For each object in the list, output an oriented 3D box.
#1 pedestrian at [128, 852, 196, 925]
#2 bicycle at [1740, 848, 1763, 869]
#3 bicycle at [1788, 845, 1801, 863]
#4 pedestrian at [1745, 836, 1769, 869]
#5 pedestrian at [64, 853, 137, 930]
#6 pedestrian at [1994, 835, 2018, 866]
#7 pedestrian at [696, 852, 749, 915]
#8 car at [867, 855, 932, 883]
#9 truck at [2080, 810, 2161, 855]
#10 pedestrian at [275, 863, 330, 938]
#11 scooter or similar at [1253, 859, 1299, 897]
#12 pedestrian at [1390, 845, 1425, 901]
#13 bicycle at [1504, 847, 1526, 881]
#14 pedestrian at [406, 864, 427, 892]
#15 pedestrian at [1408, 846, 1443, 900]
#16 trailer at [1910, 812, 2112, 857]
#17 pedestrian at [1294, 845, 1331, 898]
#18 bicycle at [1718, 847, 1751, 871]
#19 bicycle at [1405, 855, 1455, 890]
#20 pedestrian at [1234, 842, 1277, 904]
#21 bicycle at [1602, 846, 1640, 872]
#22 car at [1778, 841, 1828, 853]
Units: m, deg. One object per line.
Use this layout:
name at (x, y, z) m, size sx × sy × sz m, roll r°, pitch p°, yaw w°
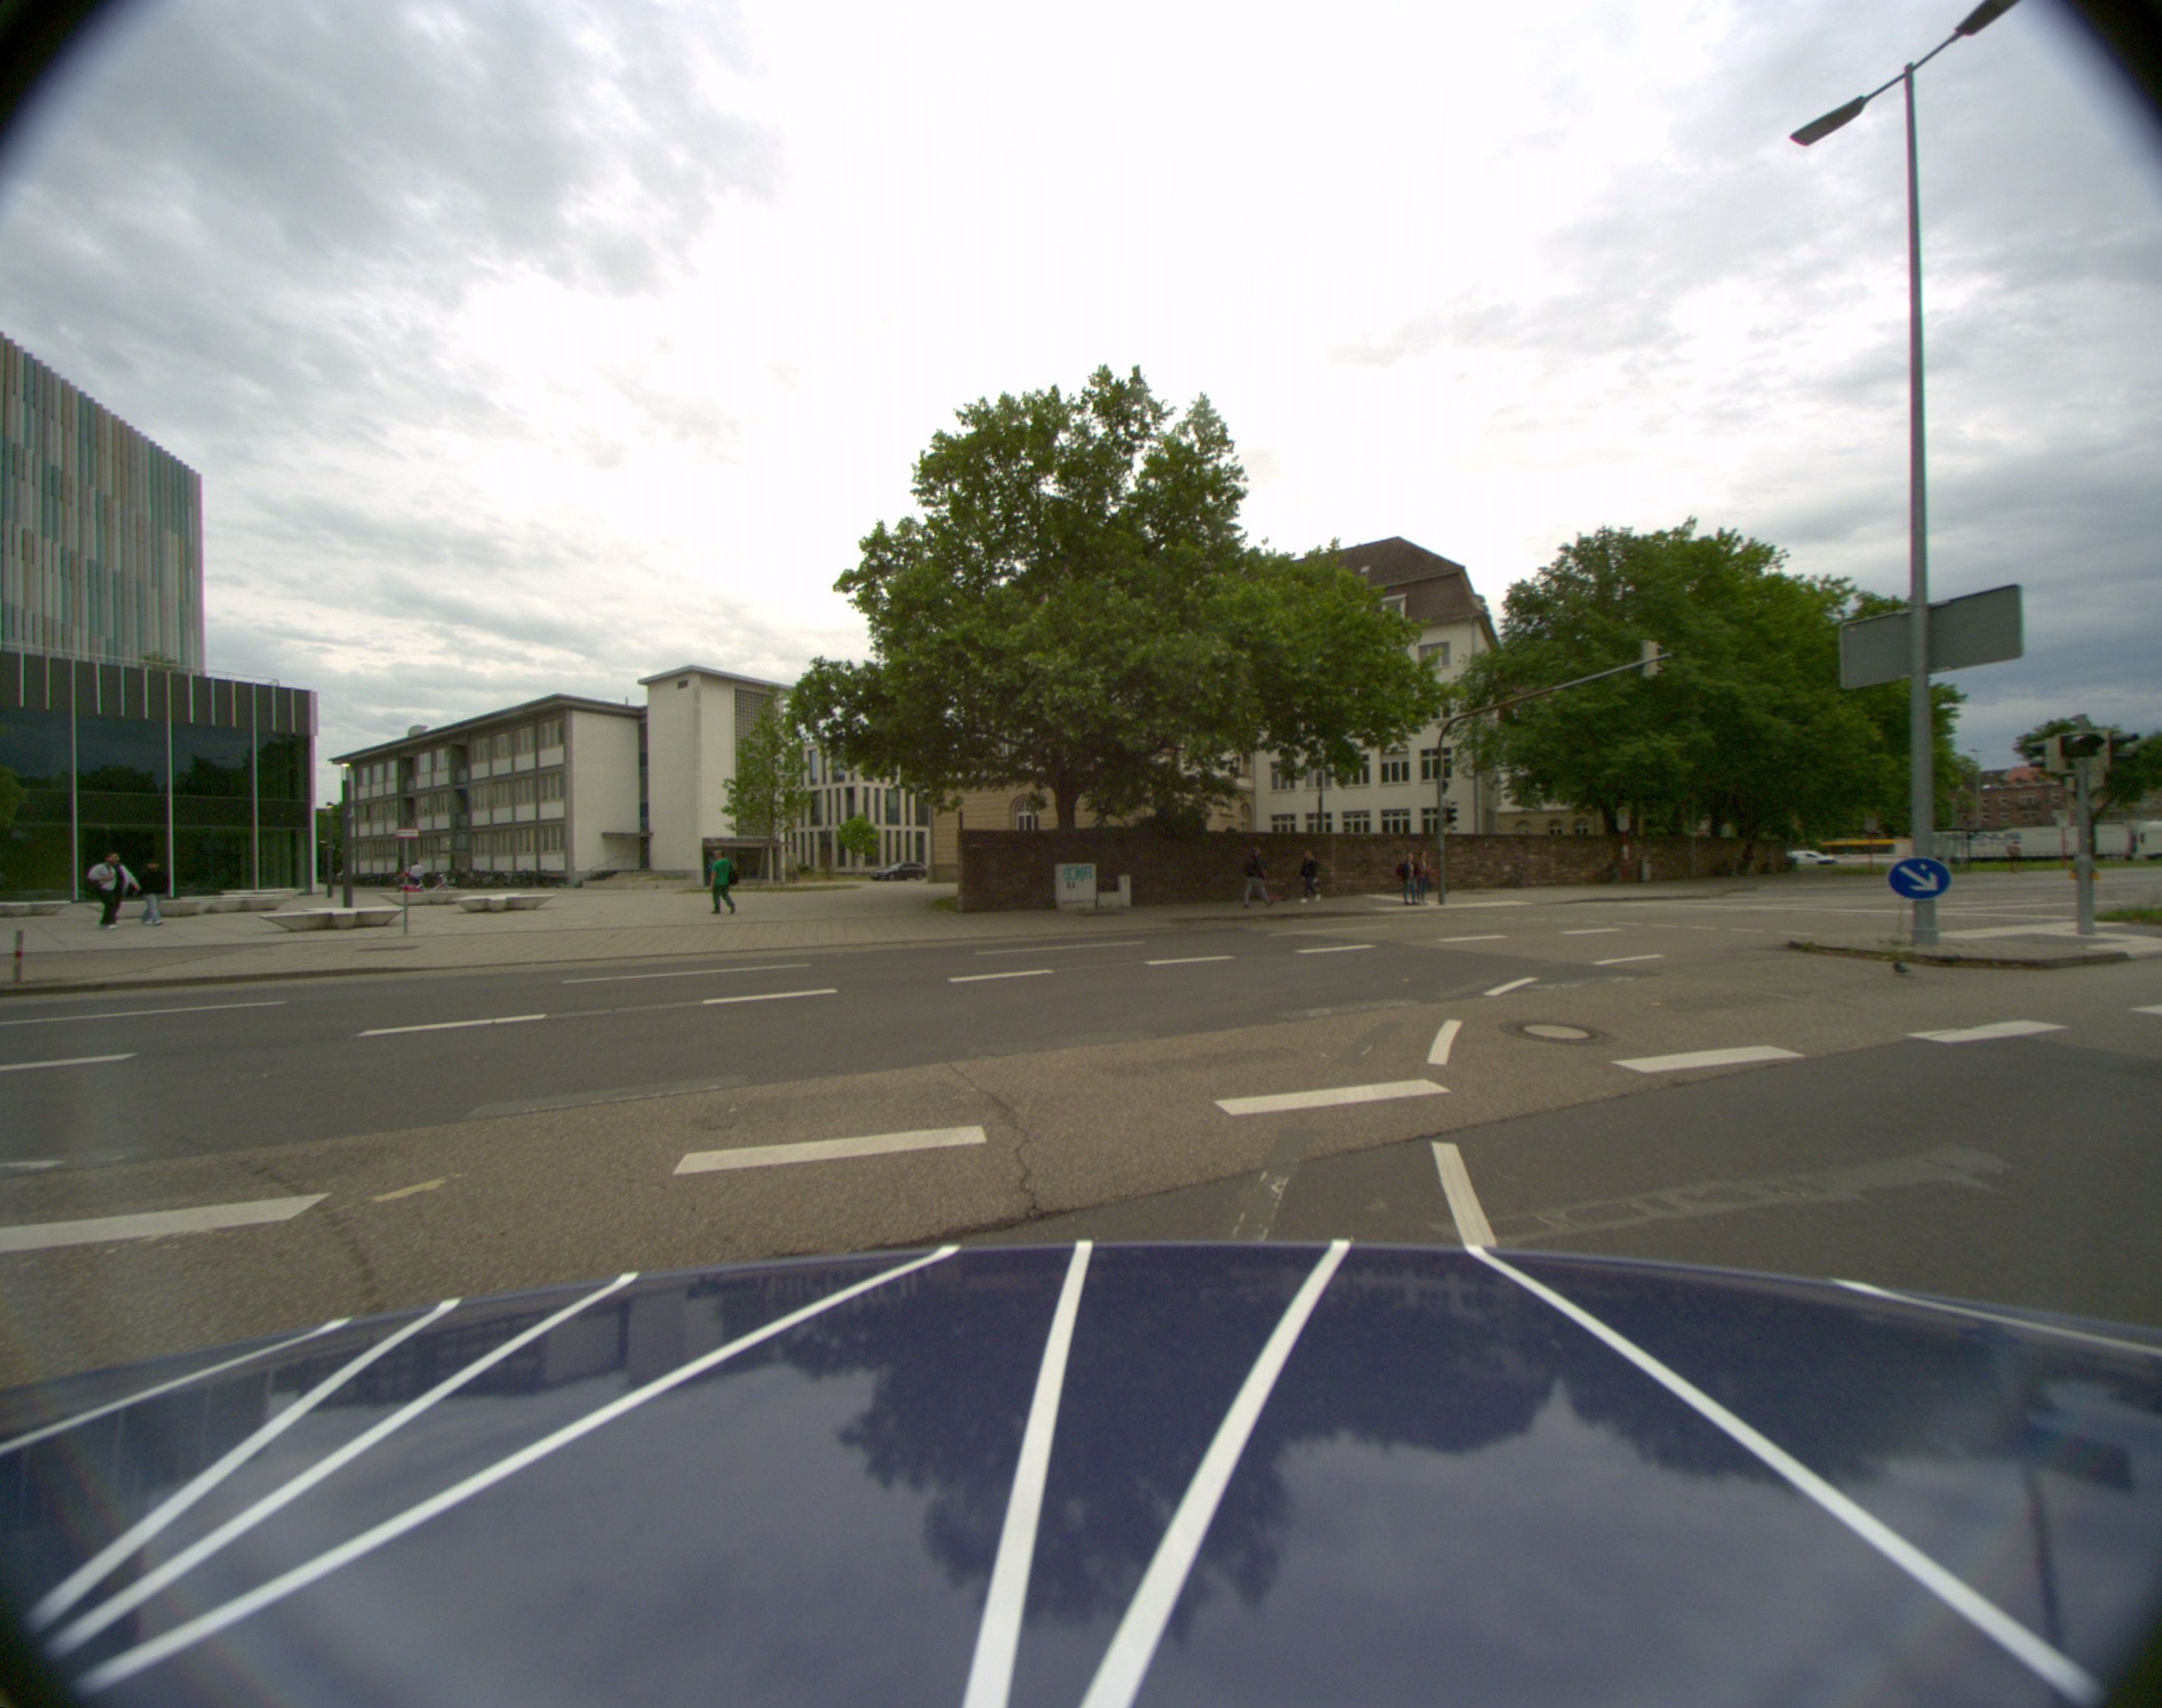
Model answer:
pedestrian at (-22.859, 0.845, 18.904) m, size 0.892 × 1.778 × 0.847 m, roll -1°, pitch 0°, yaw 25°
bicycle at (38.670, 0.241, 43.798) m, size 2.252 × 1.141 × 0.506 m, roll -2°, pitch 2°, yaw -36°
bicycle at (48.830, -0.026, 52.010) m, size 2.252 × 1.141 × 0.506 m, roll -2°, pitch 2°, yaw -43°
pedestrian at (36.078, -0.083, 40.539) m, size 0.774 × 1.749 × 0.789 m, roll -1°, pitch 1°, yaw -35°
pedestrian at (-23.175, 0.865, 17.969) m, size 0.892 × 1.778 × 0.847 m, roll 0°, pitch 1°, yaw 25°
pedestrian at (51.579, -0.208, 42.376) m, size 0.709 × 1.696 × 0.641 m, roll -1°, pitch 0°, yaw -23°
pedestrian at (-9.988, 0.806, 21.179) m, size 0.904 × 1.704 × 0.953 m, roll -2°, pitch -1°, yaw 30°
car at (-13.597, 1.128, 57.177) m, size 1.997 × 1.571 × 4.410 m, roll -14°, pitch -6°, yaw 33°
truck at (95.289, -1.936, 68.686) m, size 2.847 × 3.801 × 5.441 m, roll -3°, pitch 1°, yaw -24°
pedestrian at (-17.737, 1.047, 17.312) m, size 0.623 × 1.656 × 0.619 m, roll -2°, pitch 1°, yaw 22°
scooter or similar at (6.445, 0.789, 25.140) m, size 1.413 × 1.223 × 0.495 m, roll -1°, pitch 2°, yaw -4°
pedestrian at (10.369, 0.595, 24.132) m, size 0.671 × 1.729 × 0.734 m, roll -2°, pitch 2°, yaw -26°
bicycle at (18.195, 0.405, 31.852) m, size 0.667 × 1.372 × 2.590 m, roll 0°, pitch 0°, yaw 32°
pedestrian at (-43.448, 1.557, 49.680) m, size 0.759 × 1.778 × 0.777 m, roll -1°, pitch 0°, yaw 33°
pedestrian at (11.047, 0.592, 24.387) m, size 0.643 × 1.684 × 0.778 m, roll -2°, pitch 2°, yaw -24°
trailer at (92.233, -1.795, 75.882) m, size 2.847 × 3.801 × 12.353 m, roll -3°, pitch 0°, yaw -23°
pedestrian at (7.615, 0.572, 25.007) m, size 0.810 × 1.656 × 0.789 m, roll -2°, pitch 5°, yaw -23°
bicycle at (35.634, 0.263, 41.403) m, size 2.547 × 1.258 × 0.663 m, roll -2°, pitch 2°, yaw -33°
bicycle at (12.966, 0.669, 28.221) m, size 2.159 × 1.178 × 0.582 m, roll -1°, pitch 2°, yaw -31°
pedestrian at (5.232, 0.555, 22.773) m, size 1.008 × 1.779 × 0.756 m, roll -2°, pitch 3°, yaw -24°
bicycle at (24.767, 0.224, 34.811) m, size 2.159 × 1.141 × 0.663 m, roll -2°, pitch 2°, yaw -33°
car at (89.064, -0.851, 93.740) m, size 2.002 × 1.368 × 3.993 m, roll -2°, pitch 0°, yaw -23°
